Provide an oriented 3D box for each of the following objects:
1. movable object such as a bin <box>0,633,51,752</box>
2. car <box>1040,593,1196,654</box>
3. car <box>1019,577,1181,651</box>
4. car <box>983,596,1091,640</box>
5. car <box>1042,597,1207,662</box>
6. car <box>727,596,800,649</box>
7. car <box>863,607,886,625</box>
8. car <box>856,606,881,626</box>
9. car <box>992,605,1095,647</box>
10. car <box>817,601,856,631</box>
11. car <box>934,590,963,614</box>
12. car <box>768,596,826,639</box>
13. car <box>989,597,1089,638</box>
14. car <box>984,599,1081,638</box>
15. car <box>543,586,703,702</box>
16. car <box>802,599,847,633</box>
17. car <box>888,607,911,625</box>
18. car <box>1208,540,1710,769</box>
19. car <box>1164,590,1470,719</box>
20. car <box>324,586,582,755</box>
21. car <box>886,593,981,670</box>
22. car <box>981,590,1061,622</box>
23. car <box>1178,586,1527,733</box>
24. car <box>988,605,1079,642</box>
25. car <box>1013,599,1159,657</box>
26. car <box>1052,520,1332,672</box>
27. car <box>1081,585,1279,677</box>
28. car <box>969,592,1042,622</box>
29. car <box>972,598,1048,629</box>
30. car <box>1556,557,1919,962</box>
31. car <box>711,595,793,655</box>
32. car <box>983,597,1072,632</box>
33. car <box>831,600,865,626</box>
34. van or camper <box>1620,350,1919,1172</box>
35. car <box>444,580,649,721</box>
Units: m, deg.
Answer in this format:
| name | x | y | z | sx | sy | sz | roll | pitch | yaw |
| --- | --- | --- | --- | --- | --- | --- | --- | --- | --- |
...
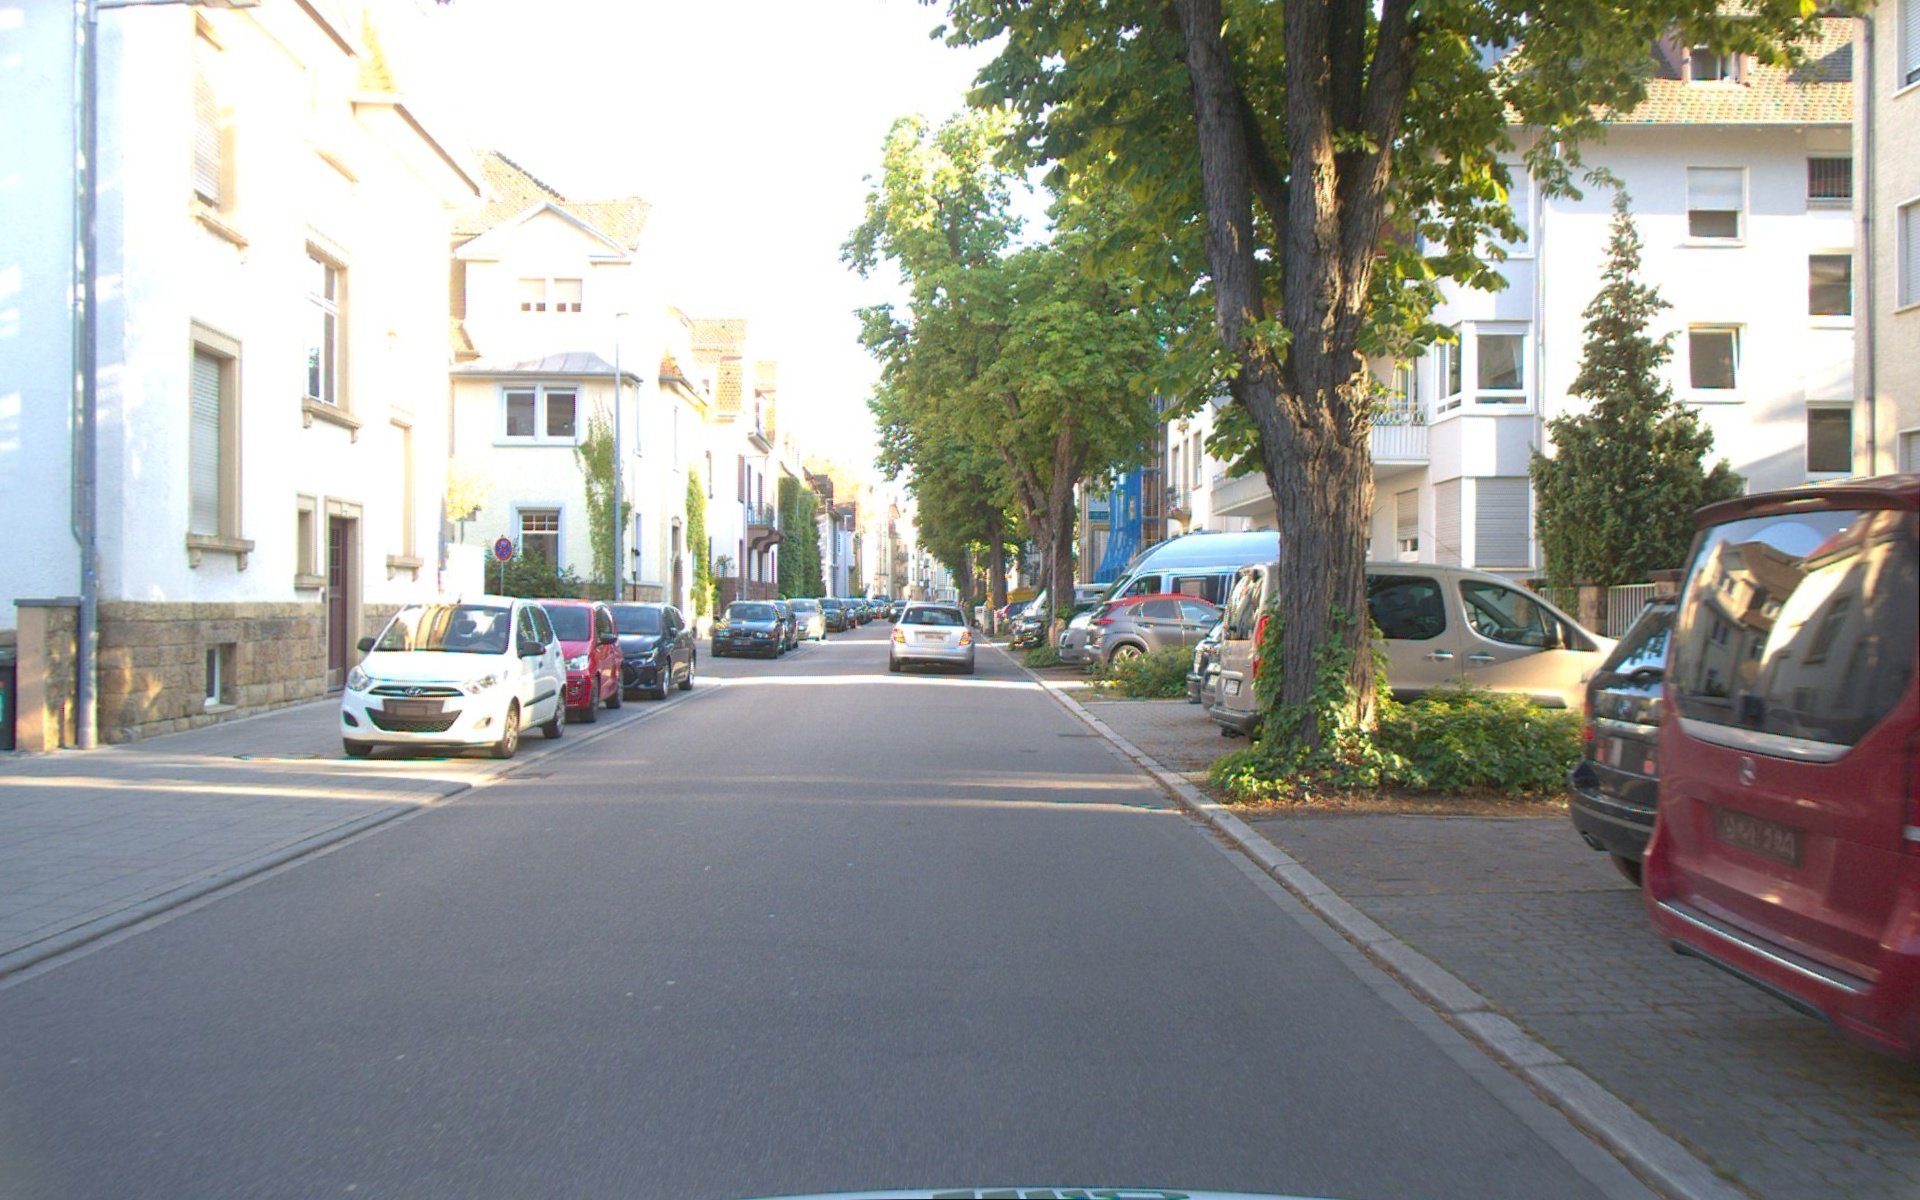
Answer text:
| name | x | y | z | sx | sy | sz | roll | pitch | yaw |
| --- | --- | --- | --- | --- | --- | --- | --- | --- | --- |
| movable object such as a bin | -9.211 | 0.880 | 15.955 | 0.517 | 1.127 | 0.589 | 1 | -2 | -1 |
| car | 3.963 | 0.579 | 41.903 | 3.765 | 1.508 | 1.805 | 0 | 0 | 0 |
| car | 3.996 | 0.397 | 47.758 | 4.428 | 2.049 | 2.250 | 0 | 0 | -3 |
| car | 2.694 | 0.625 | 58.654 | 3.765 | 1.508 | 1.805 | 0 | 0 | 0 |
| car | 3.890 | 0.685 | 39.474 | 3.765 | 1.508 | 1.805 | 0 | 0 | 0 |
| car | -5.882 | 0.638 | 49.931 | 1.762 | 1.508 | 3.856 | 1 | 0 | -1 |
| car | -6.945 | 1.293 | 134.589 | 1.762 | 1.411 | 3.605 | 1 | 0 | -1 |
| car | -6.930 | 1.182 | 125.231 | 1.762 | 1.411 | 3.605 | 1 | 0 | -1 |
| car | 3.073 | 0.951 | 61.457 | 3.765 | 1.508 | 1.805 | 0 | 0 | 0 |
| car | -6.261 | 0.796 | 84.188 | 1.762 | 1.411 | 3.605 | 1 | 0 | -1 |
| car | -0.731 | 0.162 | 111.093 | 1.779 | 1.499 | 4.217 | 1 | -1 | 2 |
| car | -5.896 | 0.618 | 60.253 | 1.762 | 1.508 | 3.856 | 1 | 0 | -1 |
| car | 3.003 | 0.668 | 63.652 | 3.765 | 1.508 | 1.805 | 0 | 0 | 0 |
| car | 2.866 | 0.744 | 65.897 | 3.765 | 1.508 | 1.805 | 0 | 0 | 0 |
| car | -5.261 | 0.639 | 26.267 | 1.762 | 1.673 | 3.856 | 1 | 0 | -1 |
| car | -6.061 | 0.701 | 74.270 | 1.762 | 1.411 | 3.605 | 1 | 0 | -1 |
| car | -4.755 | 1.252 | 130.300 | 1.762 | 1.411 | 3.605 | 1 | 0 | -1 |
| car | 4.470 | 0.476 | 15.238 | 4.046 | 1.955 | 1.890 | 0 | 0 | -3 |
| car | 4.496 | 0.676 | 21.127 | 3.523 | 1.569 | 1.649 | 0 | 0 | -3 |
| car | -5.087 | 0.672 | 17.072 | 1.626 | 1.526 | 3.751 | 1 | -1 | -3 |
| car | -0.504 | 0.662 | 34.747 | 1.779 | 1.499 | 4.217 | 1 | -1 | 2 |
| car | 2.896 | 0.288 | 78.836 | 3.765 | 1.508 | 1.805 | 0 | 0 | 0 |
| car | 4.352 | 0.647 | 18.675 | 3.523 | 1.569 | 1.649 | 0 | 0 | -3 |
| car | 3.055 | 0.975 | 69.263 | 3.765 | 1.508 | 1.805 | 0 | 0 | 0 |
| car | 3.323 | 0.731 | 44.136 | 3.765 | 1.508 | 1.805 | 0 | 0 | 0 |
| car | 4.777 | -0.076 | 34.652 | 5.432 | 3.020 | 2.470 | 0 | 0 | -3 |
| car | 4.157 | 0.573 | 31.606 | 3.523 | 1.689 | 1.649 | 0 | 0 | -3 |
| car | 2.366 | 0.355 | 86.466 | 3.765 | 1.508 | 1.805 | 0 | 0 | 0 |
| car | 2.501 | 0.689 | 83.161 | 3.765 | 1.508 | 1.805 | 0 | 0 | 0 |
| car | 4.863 | 0.647 | 7.492 | 3.702 | 1.616 | 1.793 | 0 | 0 | 2 |
| car | -5.563 | 0.647 | 44.586 | 1.762 | 1.508 | 3.856 | 1 | 0 | -1 |
| car | 2.891 | 0.618 | 71.641 | 3.765 | 1.508 | 1.805 | 0 | 0 | 0 |
| car | -6.453 | 0.723 | 95.658 | 1.762 | 1.411 | 3.605 | 1 | 0 | -1 |
| van or camper | 4.533 | 0.445 | 5.059 | 4.223 | 2.049 | 2.000 | 1 | 0 | 2 |
| car | -5.365 | 0.667 | 21.957 | 1.762 | 1.673 | 3.855 | 1 | -2 | -1 |
